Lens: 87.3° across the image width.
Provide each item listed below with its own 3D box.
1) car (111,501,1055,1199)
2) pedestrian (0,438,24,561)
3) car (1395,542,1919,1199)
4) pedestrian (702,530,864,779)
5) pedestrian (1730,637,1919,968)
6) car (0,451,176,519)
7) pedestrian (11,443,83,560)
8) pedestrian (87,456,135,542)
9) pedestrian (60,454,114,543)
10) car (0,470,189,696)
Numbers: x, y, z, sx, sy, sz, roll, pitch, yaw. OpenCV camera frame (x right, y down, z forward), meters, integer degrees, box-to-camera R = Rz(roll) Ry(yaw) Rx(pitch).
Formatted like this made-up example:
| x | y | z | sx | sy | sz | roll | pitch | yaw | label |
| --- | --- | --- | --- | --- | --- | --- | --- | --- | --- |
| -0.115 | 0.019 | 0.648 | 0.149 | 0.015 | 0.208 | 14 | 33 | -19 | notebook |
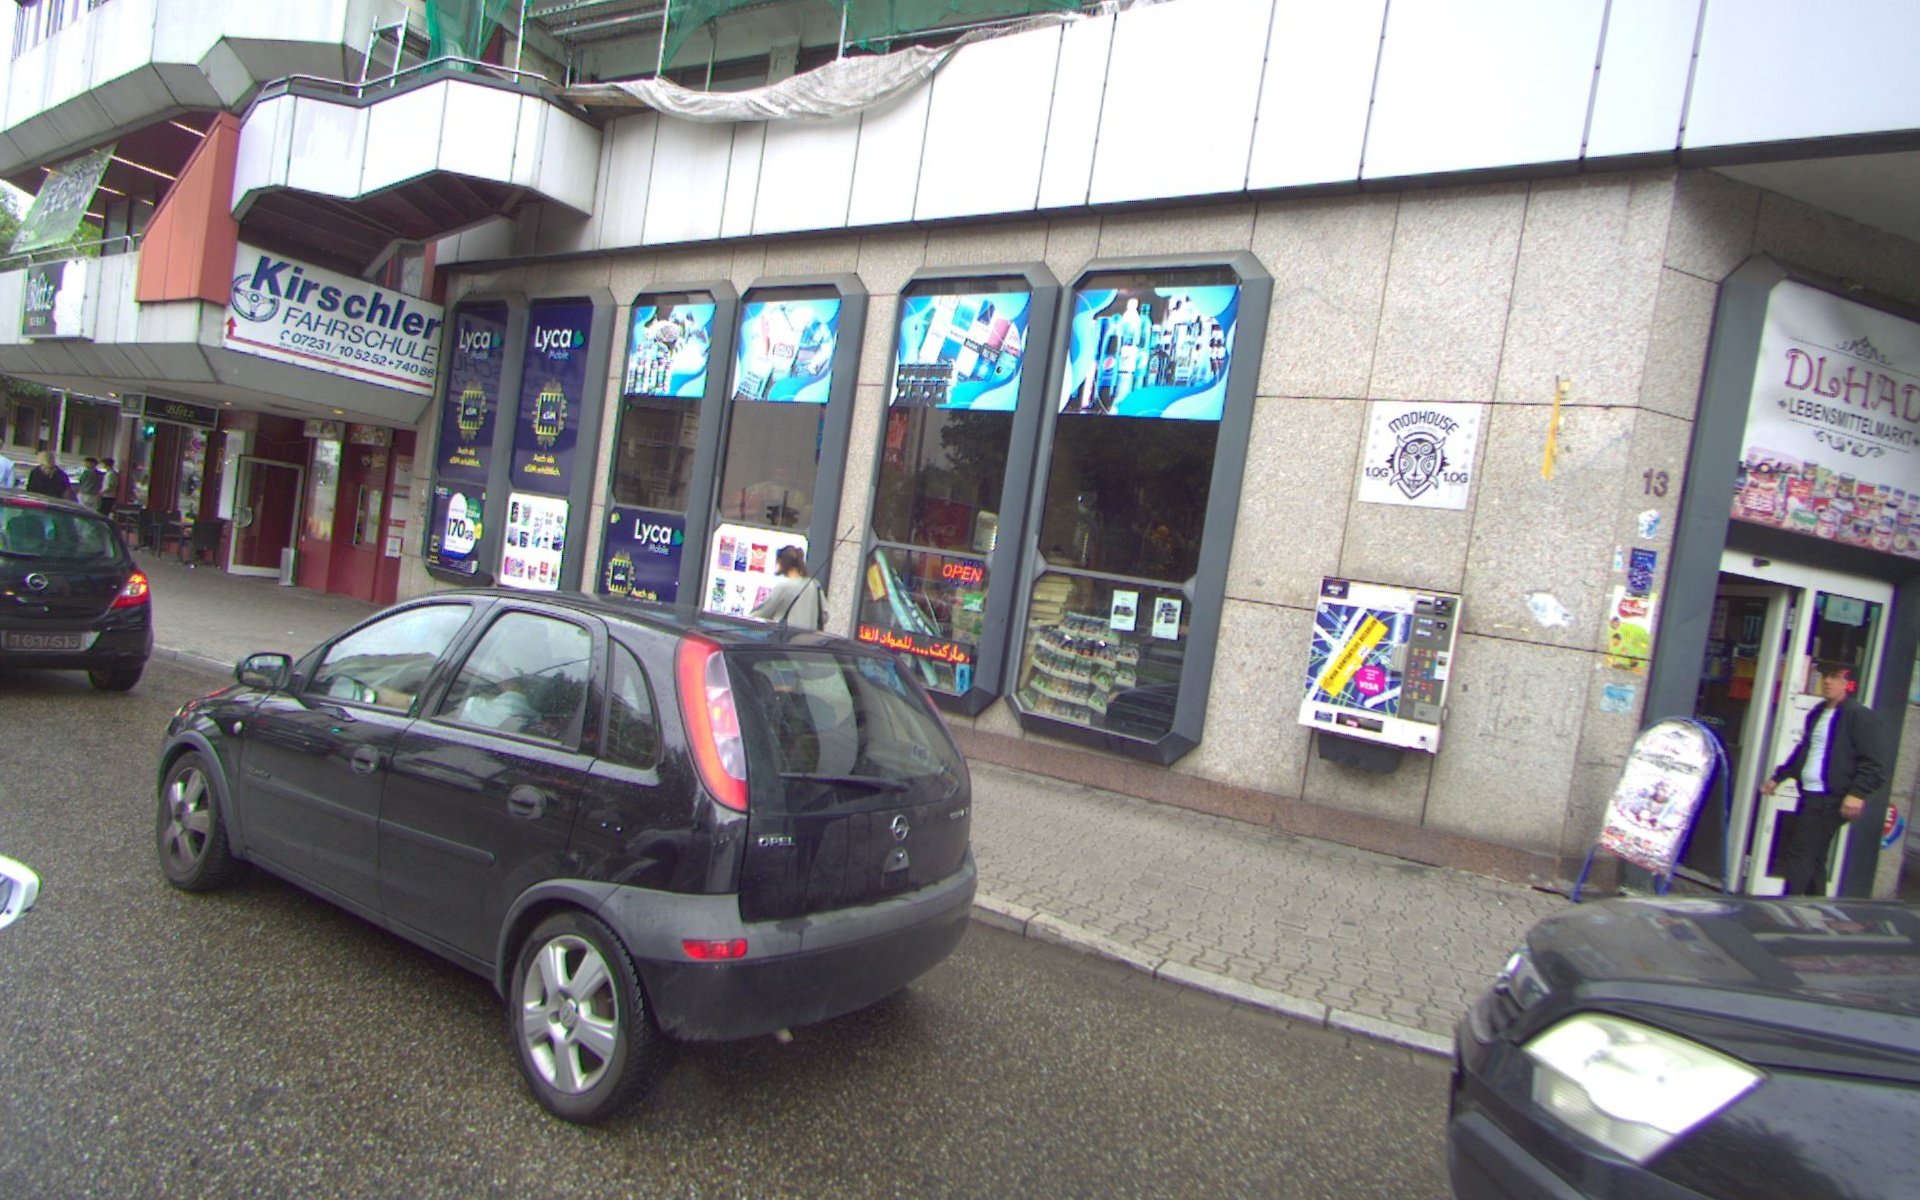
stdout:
| x | y | z | sx | sy | sz | roll | pitch | yaw | label |
| --- | --- | --- | --- | --- | --- | --- | --- | --- | --- |
| -1.655 | 0.618 | 4.054 | 3.567 | 1.459 | 1.594 | 10 | 2 | 32 | car |
| -15.240 | -1.600 | 15.725 | 0.834 | 1.870 | 0.622 | 7 | 1 | 36 | pedestrian |
| 2.954 | 0.999 | 1.303 | 4.179 | 1.699 | 1.733 | 6 | -1 | 32 | car |
| -1.404 | 0.390 | 8.020 | 0.792 | 1.805 | 0.895 | 7 | 6 | 32 | pedestrian |
| 5.354 | 1.183 | 6.128 | 0.580 | 1.805 | 0.652 | 8 | 6 | 15 | pedestrian |
| -28.107 | -3.657 | 32.313 | 1.754 | 1.438 | 4.273 | 9 | 1 | 17 | car |
| -14.848 | -1.598 | 16.359 | 0.667 | 1.795 | 0.622 | 7 | 1 | 36 | pedestrian |
| -18.524 | -2.194 | 21.957 | 0.503 | 1.785 | 0.526 | 7 | 1 | 30 | pedestrian |
| -18.460 | -2.138 | 21.275 | 0.484 | 1.785 | 0.596 | 7 | 1 | 30 | pedestrian |
| -8.025 | -0.312 | 7.928 | 3.678 | 1.475 | 1.711 | 9 | 1 | 30 | car |
